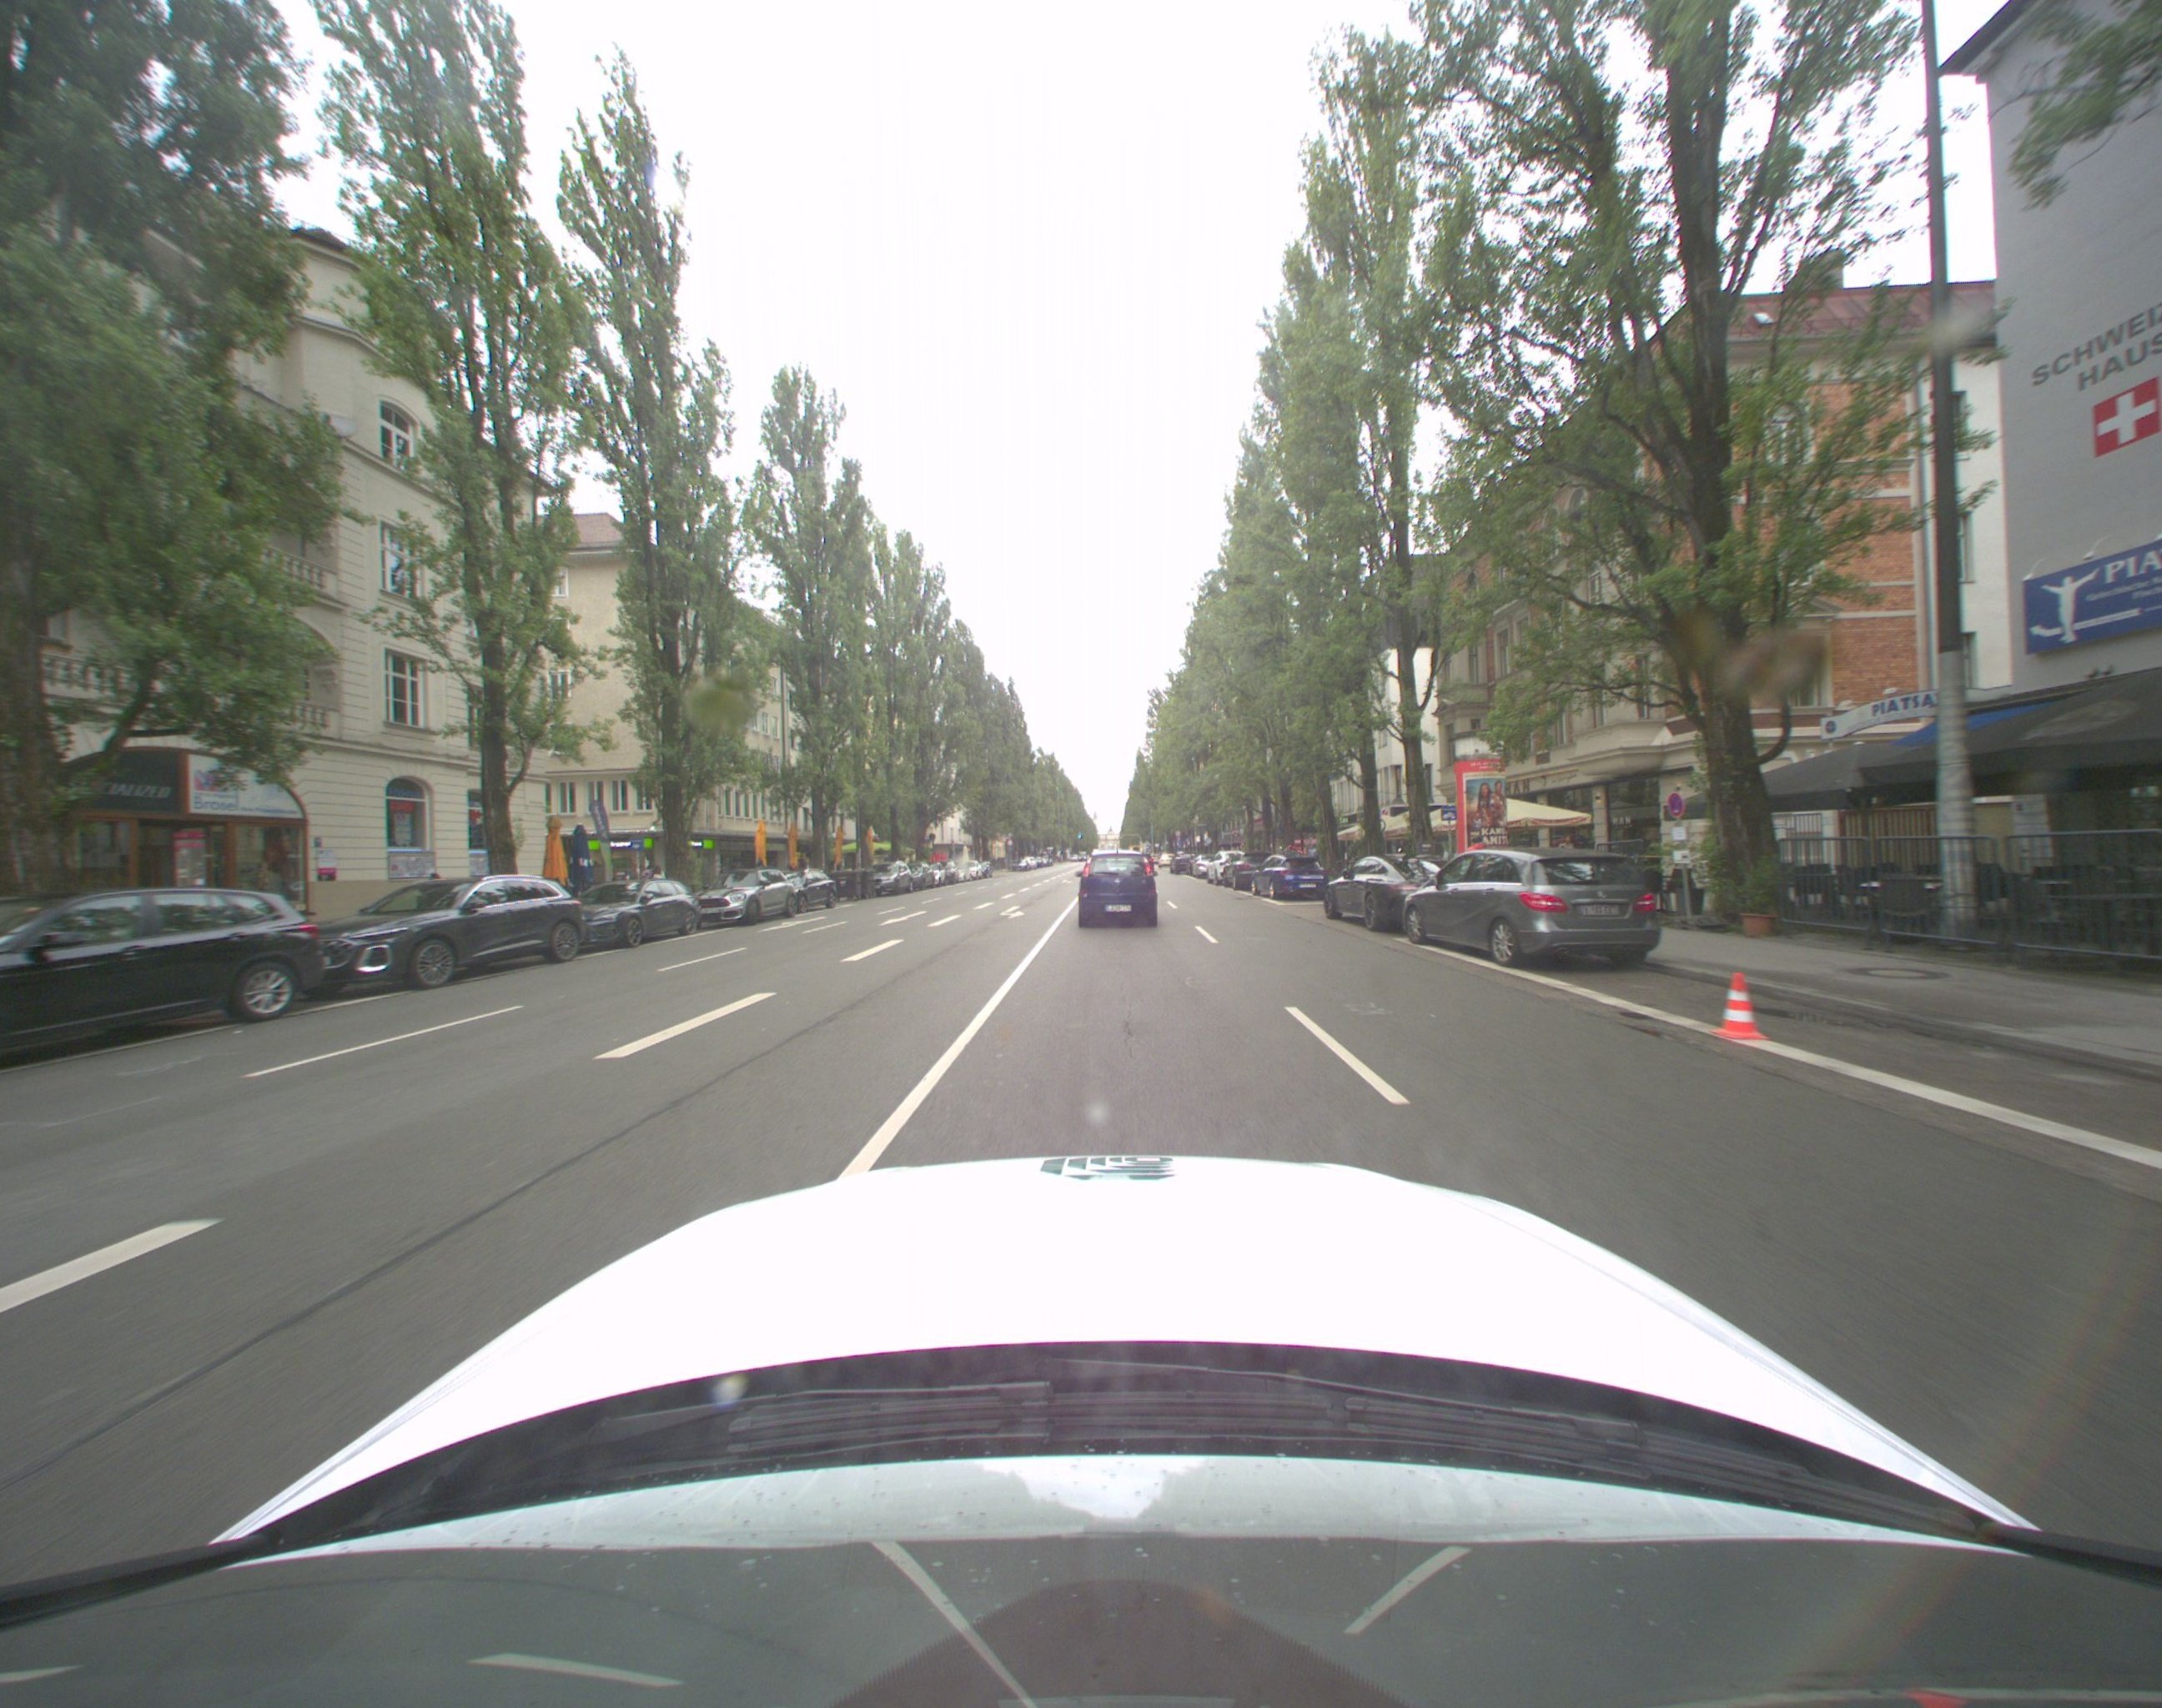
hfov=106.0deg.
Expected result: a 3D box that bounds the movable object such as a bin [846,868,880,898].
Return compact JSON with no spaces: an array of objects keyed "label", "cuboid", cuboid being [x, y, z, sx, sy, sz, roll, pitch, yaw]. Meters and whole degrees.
[{"label":"movable object such as a bin","cuboid":[-10.137,1.335,37.900,1.309,1.317,0.819,-2,0,0]}]

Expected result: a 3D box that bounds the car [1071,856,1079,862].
[{"label":"car","cuboid":[-1.542,1.403,214.887,1.954,1.549,3.780,-2,0,1]}]

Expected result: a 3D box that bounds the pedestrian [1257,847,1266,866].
[{"label":"pedestrian","cuboid":[16.450,0.238,74.134,0.651,1.751,0.860,-1,-1,2]}]

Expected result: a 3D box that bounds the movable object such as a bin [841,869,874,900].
[{"label":"movable object such as a bin","cuboid":[-10.153,1.387,37.042,1.255,1.317,0.825,-2,0,0]}]

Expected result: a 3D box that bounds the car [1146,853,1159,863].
[{"label":"car","cuboid":[10.670,0.584,121.168,1.663,1.352,4.107,-2,0,2]}]

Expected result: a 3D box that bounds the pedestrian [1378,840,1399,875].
[{"label":"pedestrian","cuboid":[16.276,0.168,43.171,0.726,1.802,0.932,-2,0,2]}]

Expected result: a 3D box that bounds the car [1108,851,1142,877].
[{"label":"car","cuboid":[2.757,0.589,51.642,1.986,1.497,4.001,-2,0,1]}]

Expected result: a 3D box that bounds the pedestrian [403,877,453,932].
[{"label":"pedestrian","cuboid":[-18.828,1.438,23.503,0.765,1.537,0.805,-1,-1,1]}]

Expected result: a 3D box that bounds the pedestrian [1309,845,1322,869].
[{"label":"pedestrian","cuboid":[16.331,0.201,56.686,0.652,1.626,0.704,-2,0,-1]}]

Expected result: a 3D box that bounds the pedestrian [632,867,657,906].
[{"label":"pedestrian","cuboid":[-19.874,1.459,37.097,0.623,1.721,0.827,-2,0,1]}]

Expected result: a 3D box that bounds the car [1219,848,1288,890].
[{"label":"car","cuboid":[7.095,0.590,33.895,1.986,1.565,4.485,-2,0,1]}]

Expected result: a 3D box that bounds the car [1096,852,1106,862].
[{"label":"car","cuboid":[3.996,0.564,161.871,1.828,1.761,3.780,-2,0,1]}]

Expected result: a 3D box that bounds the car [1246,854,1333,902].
[{"label":"car","cuboid":[6.798,0.741,27.023,1.744,1.405,4.464,-2,0,0]}]

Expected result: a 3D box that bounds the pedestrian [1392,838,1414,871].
[{"label":"pedestrian","cuboid":[17.023,0.015,43.082,0.726,1.677,0.932,-2,0,2]}]

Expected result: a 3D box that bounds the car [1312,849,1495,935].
[{"label":"car","cuboid":[6.338,0.675,16.668,1.872,1.432,4.805,-2,0,1]}]

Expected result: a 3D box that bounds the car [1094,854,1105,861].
[{"label":"car","cuboid":[3.571,0.653,154.735,1.954,1.399,3.780,-2,0,1]}]

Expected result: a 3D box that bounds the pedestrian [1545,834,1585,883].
[{"label":"pedestrian","cuboid":[16.399,0.149,27.594,0.726,1.609,0.991,-2,0,2]}]

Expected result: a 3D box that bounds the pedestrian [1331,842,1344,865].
[{"label":"pedestrian","cuboid":[19.147,-0.030,60.792,0.652,1.626,0.704,-2,0,-1]}]

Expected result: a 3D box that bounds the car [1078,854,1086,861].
[{"label":"car","cuboid":[0.327,0.963,208.660,1.828,1.739,3.780,-2,0,1]}]

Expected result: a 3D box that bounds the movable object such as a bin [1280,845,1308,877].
[{"label":"movable object such as a bin","cuboid":[11.822,0.377,45.302,1.030,1.703,1.586,-2,0,-2]}]

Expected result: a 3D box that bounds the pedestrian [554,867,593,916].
[{"label":"pedestrian","cuboid":[-18.118,1.318,29.093,0.731,1.673,0.953,-2,0,2]}]

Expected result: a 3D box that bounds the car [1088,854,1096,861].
[{"label":"car","cuboid":[2.708,0.872,204.271,1.828,1.677,3.780,-2,0,1]}]

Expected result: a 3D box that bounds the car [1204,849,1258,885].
[{"label":"car","cuboid":[7.144,0.604,39.252,1.820,1.621,4.749,-1,0,1]}]

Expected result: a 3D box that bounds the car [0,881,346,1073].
[{"label":"car","cuboid":[-10.610,1.215,8.278,1.813,1.618,4.717,-4,0,2]}]

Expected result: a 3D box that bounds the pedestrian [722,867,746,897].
[{"label":"pedestrian","cuboid":[-20.613,1.660,48.394,0.848,1.744,1.149,-1,0,2]}]

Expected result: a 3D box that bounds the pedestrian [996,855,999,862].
[{"label":"pedestrian","cuboid":[-13.177,0.662,128.391,0.287,1.090,0.259,-2,0,7]}]

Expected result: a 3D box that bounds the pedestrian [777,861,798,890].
[{"label":"pedestrian","cuboid":[-18.324,1.317,50.859,0.848,1.744,1.149,-2,0,2]}]

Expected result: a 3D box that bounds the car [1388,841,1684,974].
[{"label":"car","cuboid":[6.191,0.640,11.753,1.811,1.506,4.230,-2,0,-1]}]

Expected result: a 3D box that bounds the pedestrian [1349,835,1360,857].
[{"label":"pedestrian","cuboid":[20.686,-0.611,61.576,0.730,1.626,0.768,-1,-1,11]}]

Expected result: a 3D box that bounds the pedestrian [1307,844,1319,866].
[{"label":"pedestrian","cuboid":[18.467,0.091,64.929,0.724,1.751,0.860,-1,-1,2]}]

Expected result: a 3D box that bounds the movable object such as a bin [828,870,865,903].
[{"label":"movable object such as a bin","cuboid":[-10.062,1.387,35.028,1.272,1.310,0.902,-2,0,2]}]

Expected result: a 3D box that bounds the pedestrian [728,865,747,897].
[{"label":"pedestrian","cuboid":[-18.972,1.465,45.024,0.622,1.721,0.827,-2,0,3]}]

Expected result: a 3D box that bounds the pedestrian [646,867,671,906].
[{"label":"pedestrian","cuboid":[-19.241,1.485,37.088,0.623,1.721,0.827,-2,0,1]}]
